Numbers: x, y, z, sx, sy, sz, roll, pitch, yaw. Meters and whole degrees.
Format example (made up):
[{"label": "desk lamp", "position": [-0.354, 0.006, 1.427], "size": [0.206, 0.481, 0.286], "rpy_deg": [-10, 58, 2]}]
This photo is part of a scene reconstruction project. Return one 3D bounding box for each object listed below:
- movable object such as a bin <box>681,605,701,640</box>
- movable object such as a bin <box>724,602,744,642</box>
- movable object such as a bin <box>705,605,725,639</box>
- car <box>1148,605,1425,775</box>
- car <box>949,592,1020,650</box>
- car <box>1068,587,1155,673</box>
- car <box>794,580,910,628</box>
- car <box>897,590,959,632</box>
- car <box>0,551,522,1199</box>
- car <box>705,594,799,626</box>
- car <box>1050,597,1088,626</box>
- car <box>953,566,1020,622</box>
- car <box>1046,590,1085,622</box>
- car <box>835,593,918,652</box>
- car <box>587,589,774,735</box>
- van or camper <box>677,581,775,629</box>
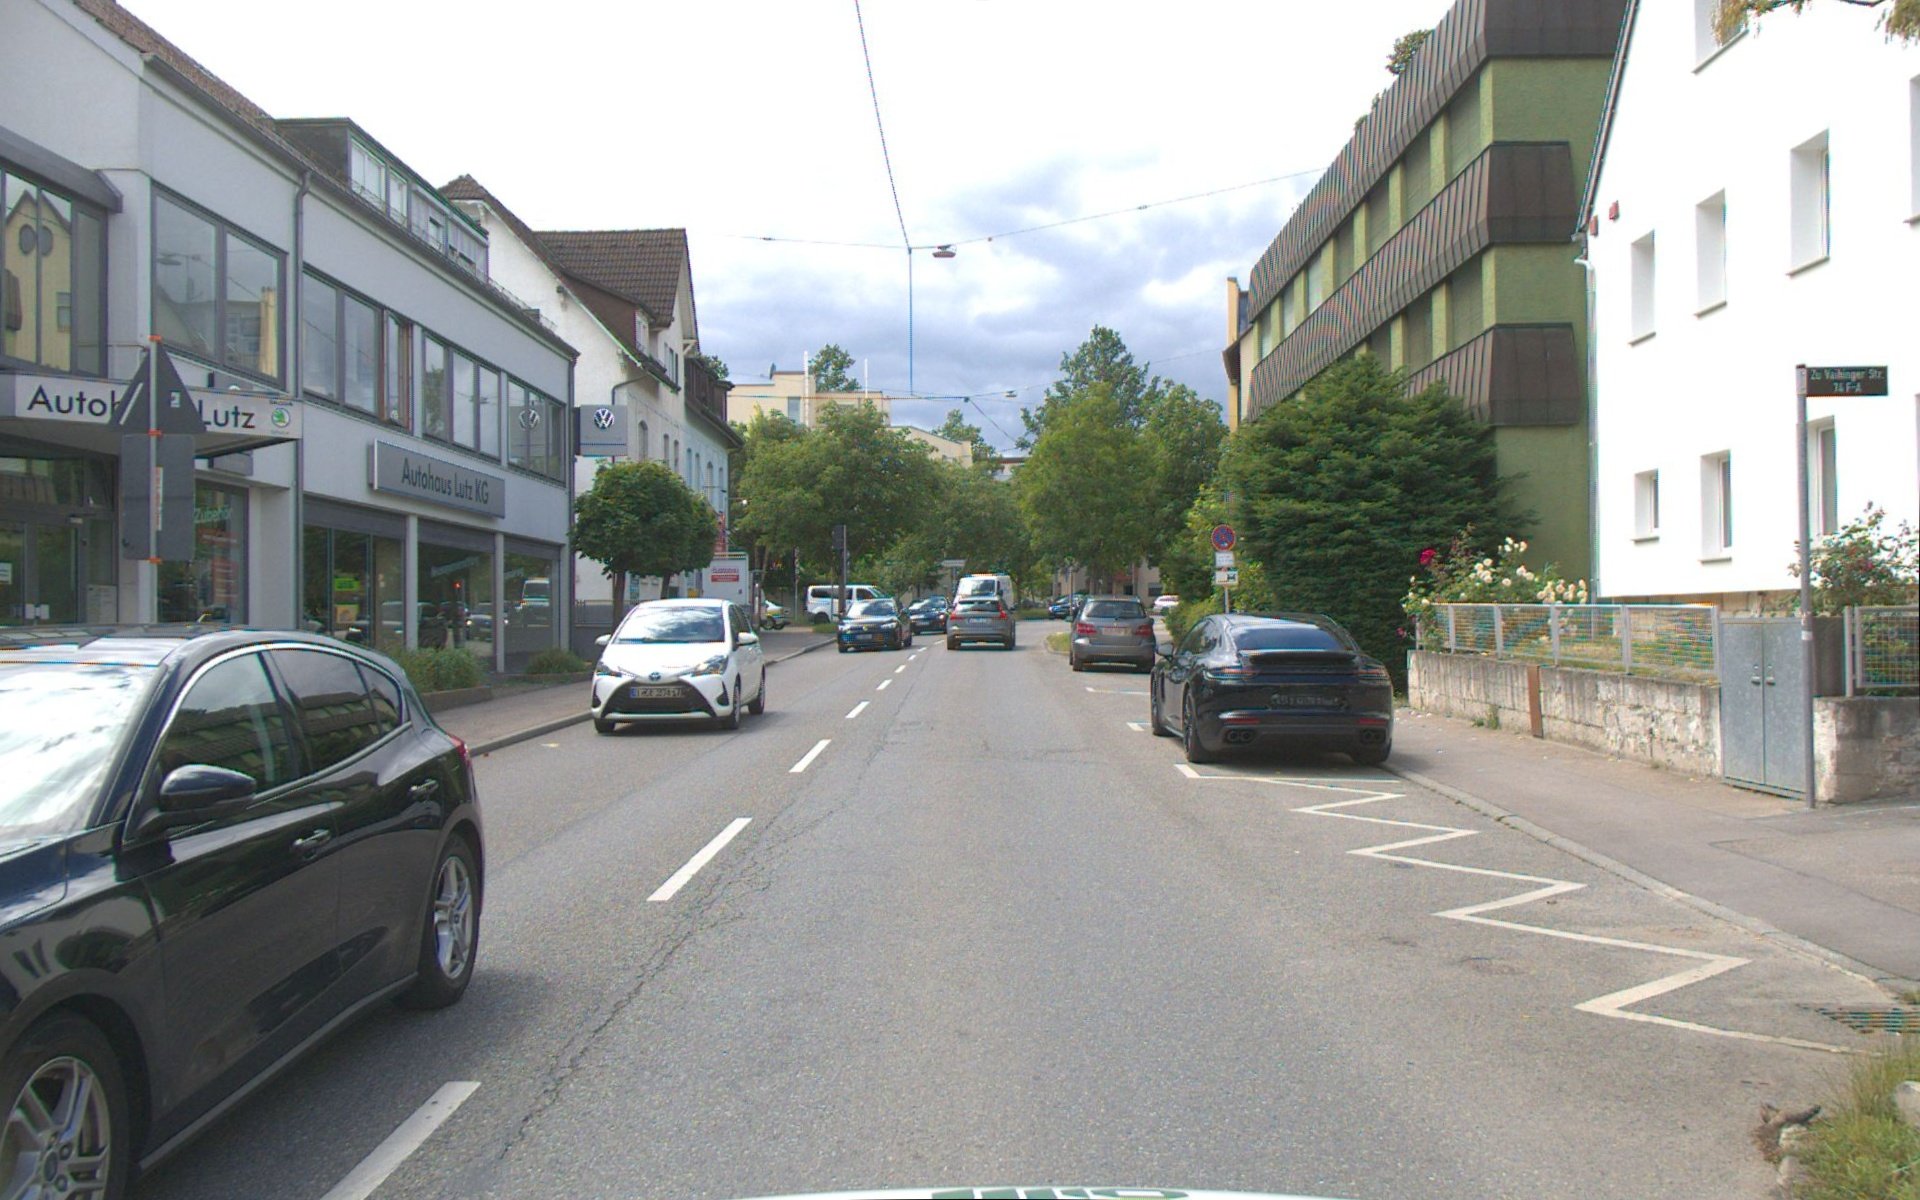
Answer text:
[{"label": "movable object such as a bin", "position": [-8.783, 0.722, 54.048], "size": [0.553, 1.120, 0.563], "rpy_deg": [2, -1, -4]}, {"label": "movable object such as a bin", "position": [-7.401, 0.715, 54.153], "size": [0.553, 1.295, 0.563], "rpy_deg": [2, 0, -4]}, {"label": "movable object such as a bin", "position": [-8.005, 0.719, 54.101], "size": [0.553, 1.120, 0.563], "rpy_deg": [2, -1, -4]}, {"label": "car", "position": [3.175, 0.823, 17.092], "size": [1.943, 1.473, 4.751], "rpy_deg": [-1, -1, 0]}, {"label": "car", "position": [0.722, 0.558, 46.974], "size": [1.915, 1.550, 4.330], "rpy_deg": [0, 0, 1]}, {"label": "car", "position": [3.270, 0.597, 36.356], "size": [1.654, 1.695, 4.464], "rpy_deg": [-1, 1, 2]}, {"label": "car", "position": [-5.176, 0.189, 79.500], "size": [5.103, 2.028, 2.109], "rpy_deg": [-3, 0, 18]}, {"label": "car", "position": [-1.167, 0.396, 61.973], "size": [1.733, 1.450, 4.112], "rpy_deg": [-2, 0, 7]}, {"label": "car", "position": [-2.680, 0.713, 4.620], "size": [1.793, 1.550, 4.170], "rpy_deg": [-1, -1, 0]}, {"label": "car", "position": [-9.674, 0.473, 77.092], "size": [3.931, 1.438, 1.817], "rpy_deg": [0, -1, 13]}, {"label": "car", "position": [6.324, 0.646, 95.788], "size": [1.651, 1.508, 4.230], "rpy_deg": [-4, -1, 11]}, {"label": "car", "position": [1.286, -0.327, 77.287], "size": [2.019, 2.394, 5.188], "rpy_deg": [-3, 0, 12]}, {"label": "car", "position": [5.242, 0.315, 82.542], "size": [1.582, 1.550, 3.568], "rpy_deg": [-1, -1, -2]}, {"label": "car", "position": [-2.398, 0.618, 48.404], "size": [1.738, 1.550, 4.465], "rpy_deg": [-3, 0, 5]}, {"label": "car", "position": [-3.337, 0.706, 20.371], "size": [1.655, 1.607, 3.799], "rpy_deg": [-1, -1, 0]}, {"label": "van or camper", "position": [-10.260, 0.253, 72.751], "size": [1.755, 2.028, 4.363], "rpy_deg": [-1, -1, 36]}]
